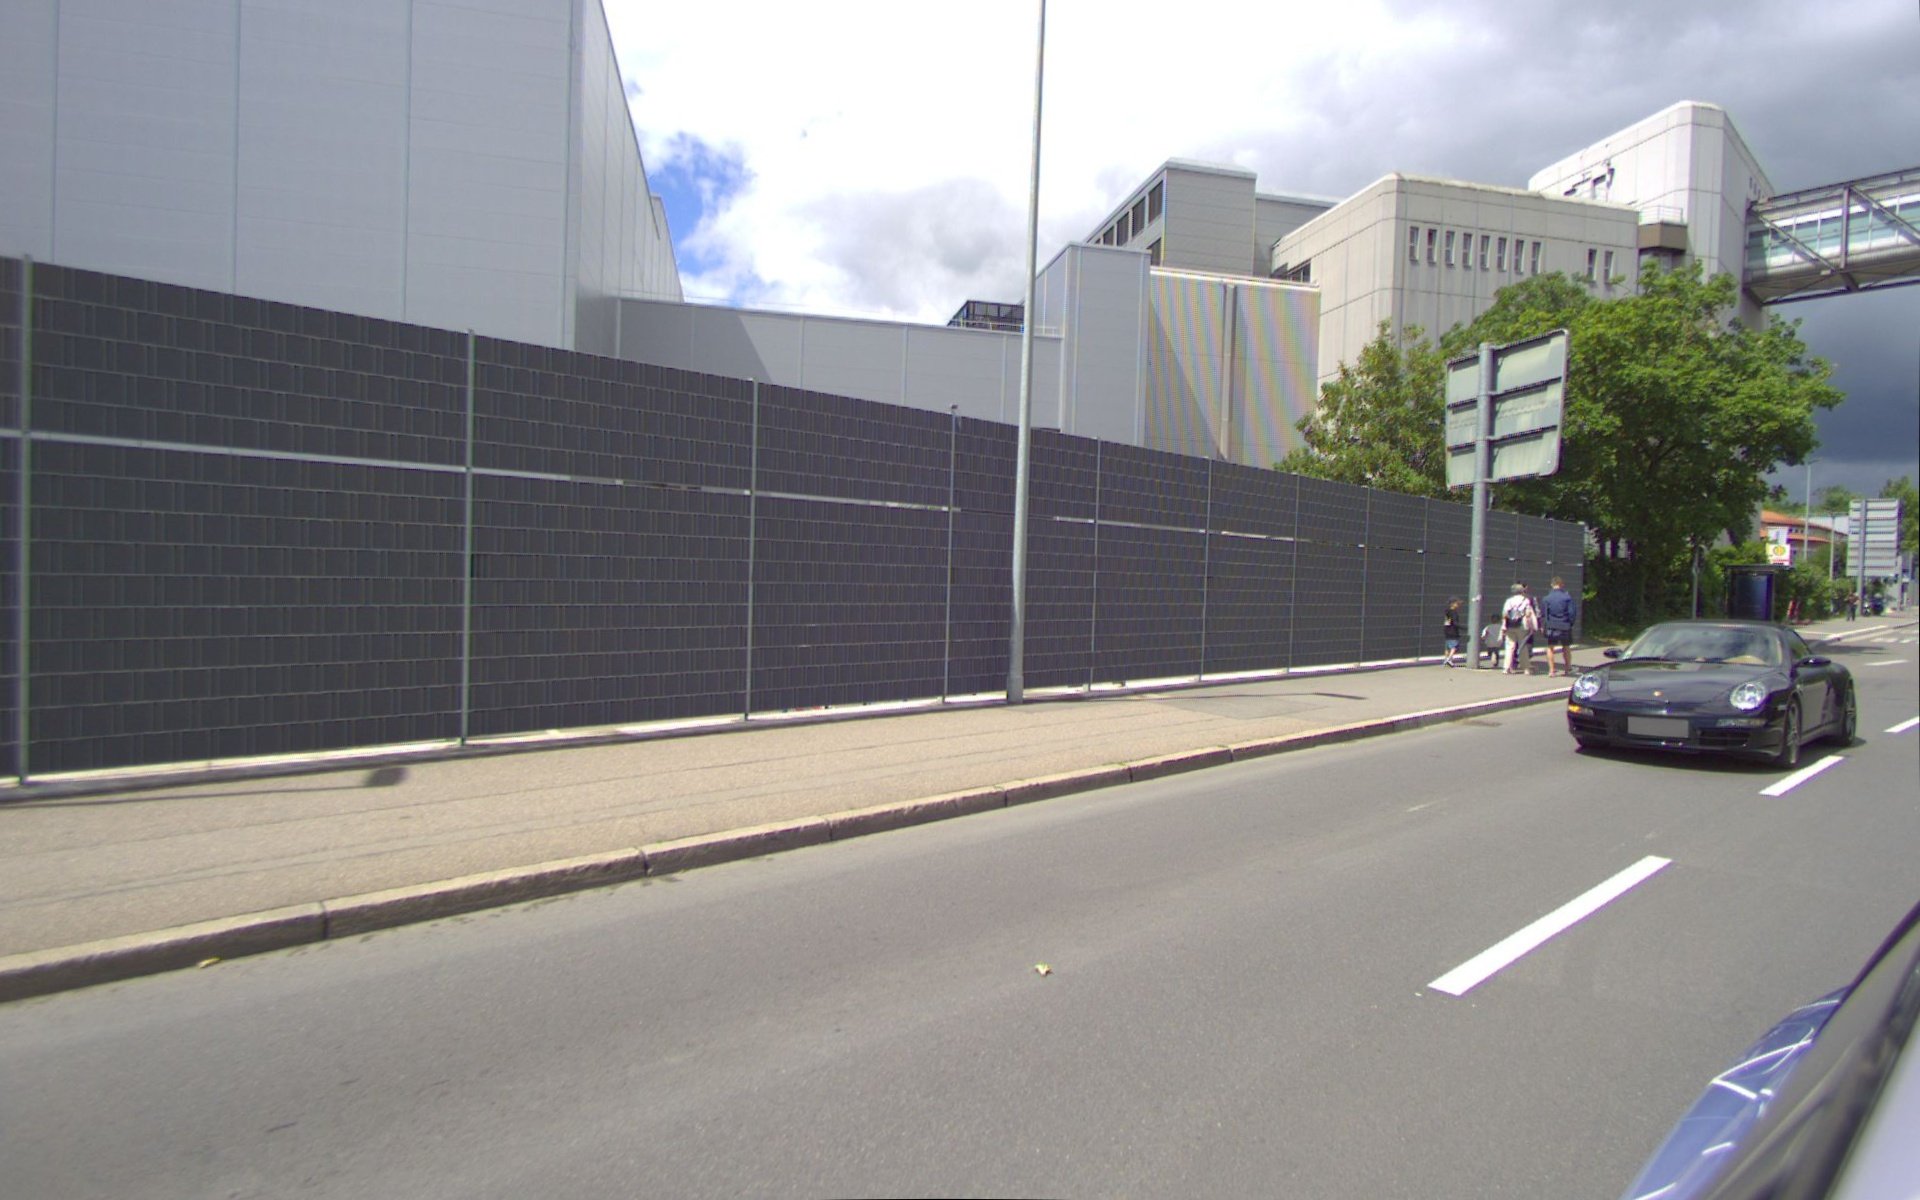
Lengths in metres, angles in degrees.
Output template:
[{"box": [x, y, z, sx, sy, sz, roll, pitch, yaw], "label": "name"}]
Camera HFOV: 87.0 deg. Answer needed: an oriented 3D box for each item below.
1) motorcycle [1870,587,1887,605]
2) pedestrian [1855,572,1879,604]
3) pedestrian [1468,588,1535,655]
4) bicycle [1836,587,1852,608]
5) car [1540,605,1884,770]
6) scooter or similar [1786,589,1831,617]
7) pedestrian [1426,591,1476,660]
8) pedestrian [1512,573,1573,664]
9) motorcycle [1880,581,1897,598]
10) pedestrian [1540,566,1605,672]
[{"box": [58.985, -0.244, 64.962, 2.002, 1.080, 0.592, -1, 3, -42], "label": "motorcycle"}, {"box": [49.085, -0.677, 54.759, 0.981, 1.664, 0.810, -1, 4, -44], "label": "pedestrian"}, {"box": [9.779, 0.368, 18.266, 0.954, 1.163, 0.759, -1, 1, -39], "label": "pedestrian"}, {"box": [50.983, -0.154, 58.384, 2.427, 1.194, 0.444, -2, 1, -43], "label": "bicycle"}, {"box": [7.713, 0.733, 10.275, 3.927, 1.342, 1.839, 0, 0, -38], "label": "car"}, {"box": [36.950, 0.116, 44.079, 1.754, 1.177, 0.544, 1, 2, -15], "label": "scooter or similar"}, {"box": [9.064, 0.450, 18.681, 0.704, 1.222, 0.598, -1, 1, -39], "label": "pedestrian"}, {"box": [10.673, 0.313, 18.544, 0.720, 1.617, 0.795, -1, 1, -44], "label": "pedestrian"}, {"box": [63.494, -0.712, 69.207, 2.002, 1.080, 0.592, -1, 4, -42], "label": "motorcycle"}, {"box": [10.429, 0.301, 17.230, 0.795, 1.742, 0.720, 1, 1, 45], "label": "pedestrian"}]
